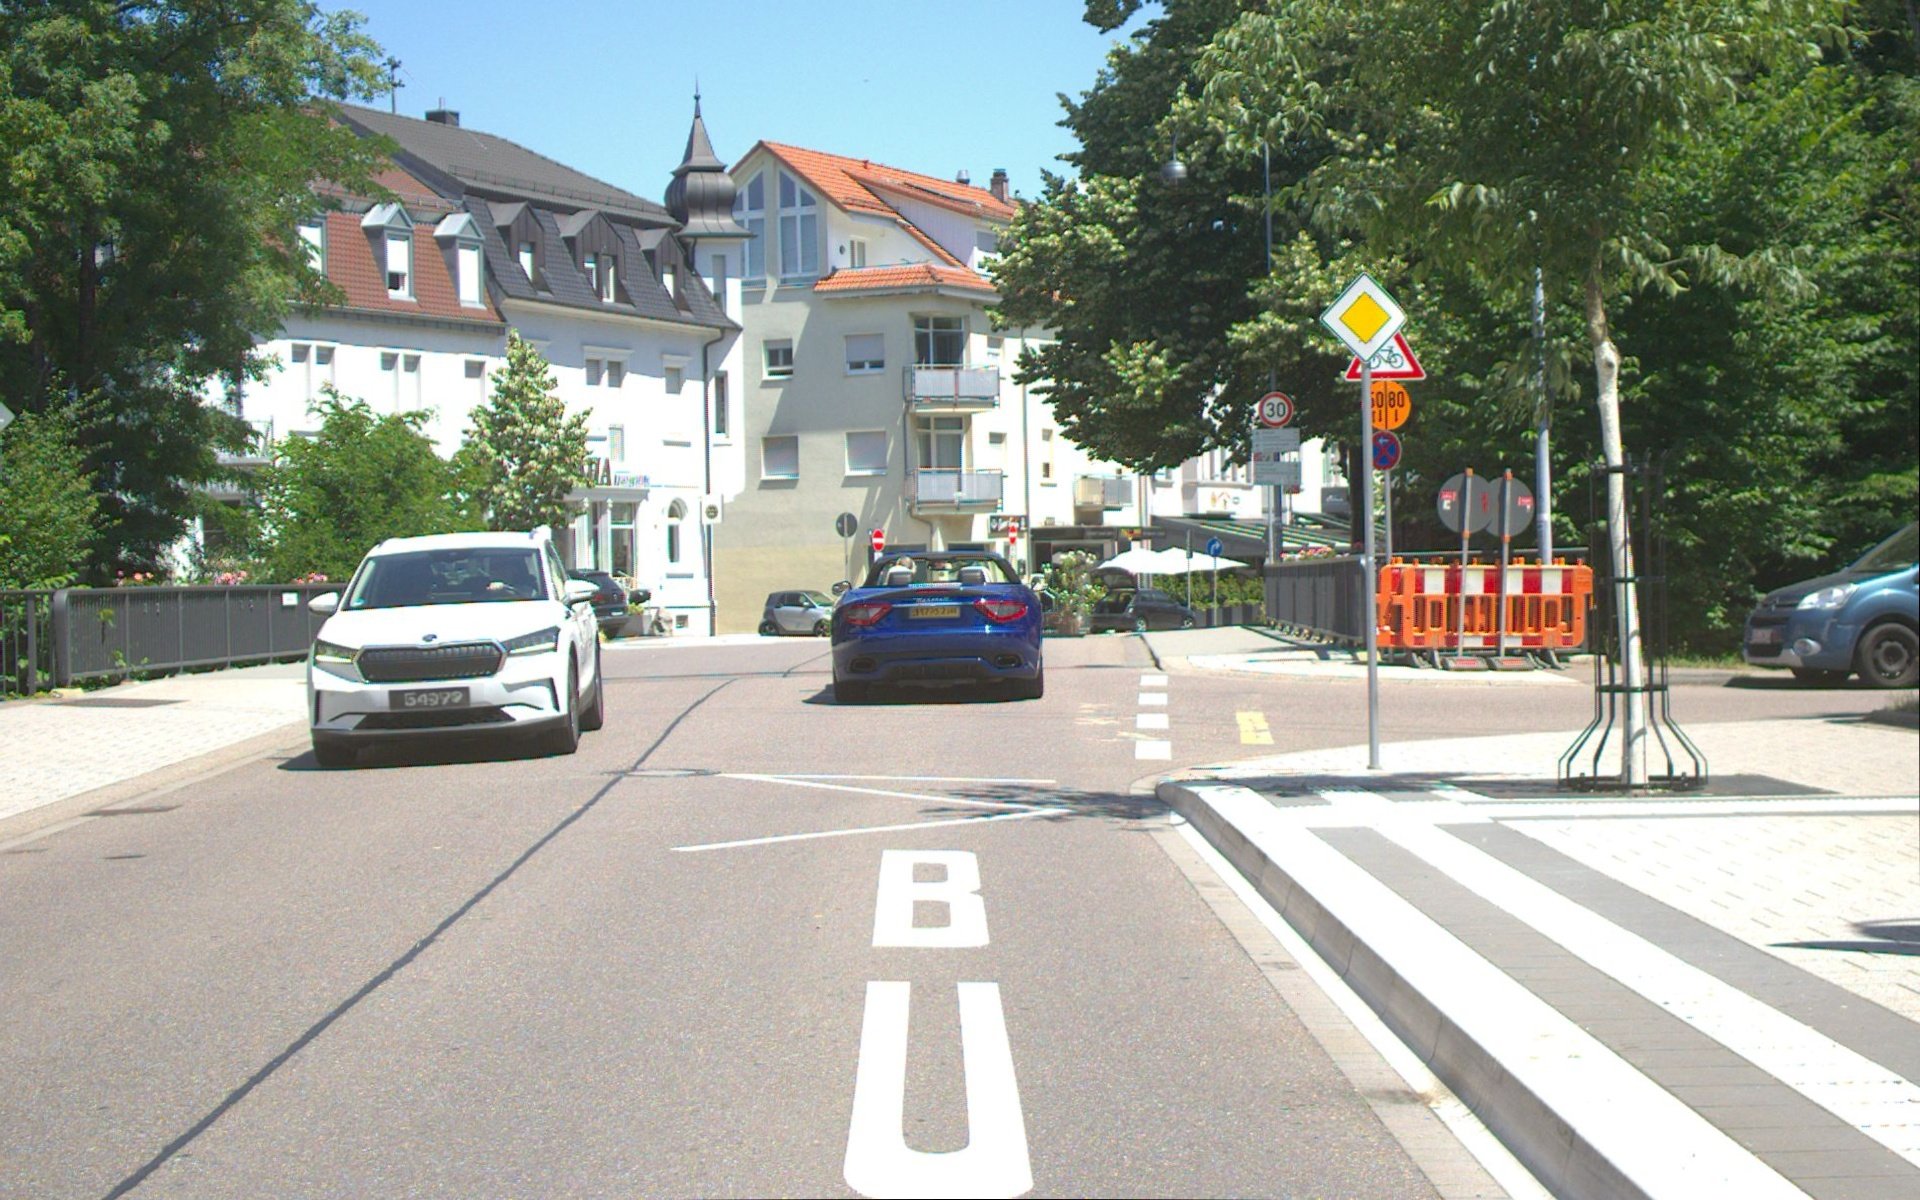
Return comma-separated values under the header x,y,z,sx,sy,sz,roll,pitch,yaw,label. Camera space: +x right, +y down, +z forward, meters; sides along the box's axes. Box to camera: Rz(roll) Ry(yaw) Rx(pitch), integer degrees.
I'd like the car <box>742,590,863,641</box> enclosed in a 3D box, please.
x,y,z,sx,sy,sz,roll,pitch,yaw,label
-4.783,0.465,104.476,3.266,1.453,1.690,-1,0,23,car

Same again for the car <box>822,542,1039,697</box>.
x,y,z,sx,sy,sz,roll,pitch,yaw,label
-0.271,0.158,32.069,1.870,1.337,4.596,0,0,0,car

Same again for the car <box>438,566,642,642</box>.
x,y,z,sx,sy,sz,roll,pitch,yaw,label
-9.576,0.104,78.474,4.185,1.656,1.968,-1,-1,23,car

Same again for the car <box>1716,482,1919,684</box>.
x,y,z,sx,sy,sz,roll,pitch,yaw,label
9.544,-0.144,32.474,4.336,1.832,1.750,0,0,-9,car

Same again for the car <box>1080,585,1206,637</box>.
x,y,z,sx,sy,sz,roll,pitch,yaw,label
5.495,0.334,102.778,1.716,1.455,4.120,2,0,37,car

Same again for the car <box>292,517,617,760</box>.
x,y,z,sx,sy,sz,roll,pitch,yaw,label
-3.701,0.233,25.882,1.877,1.591,4.360,-2,1,-2,car
